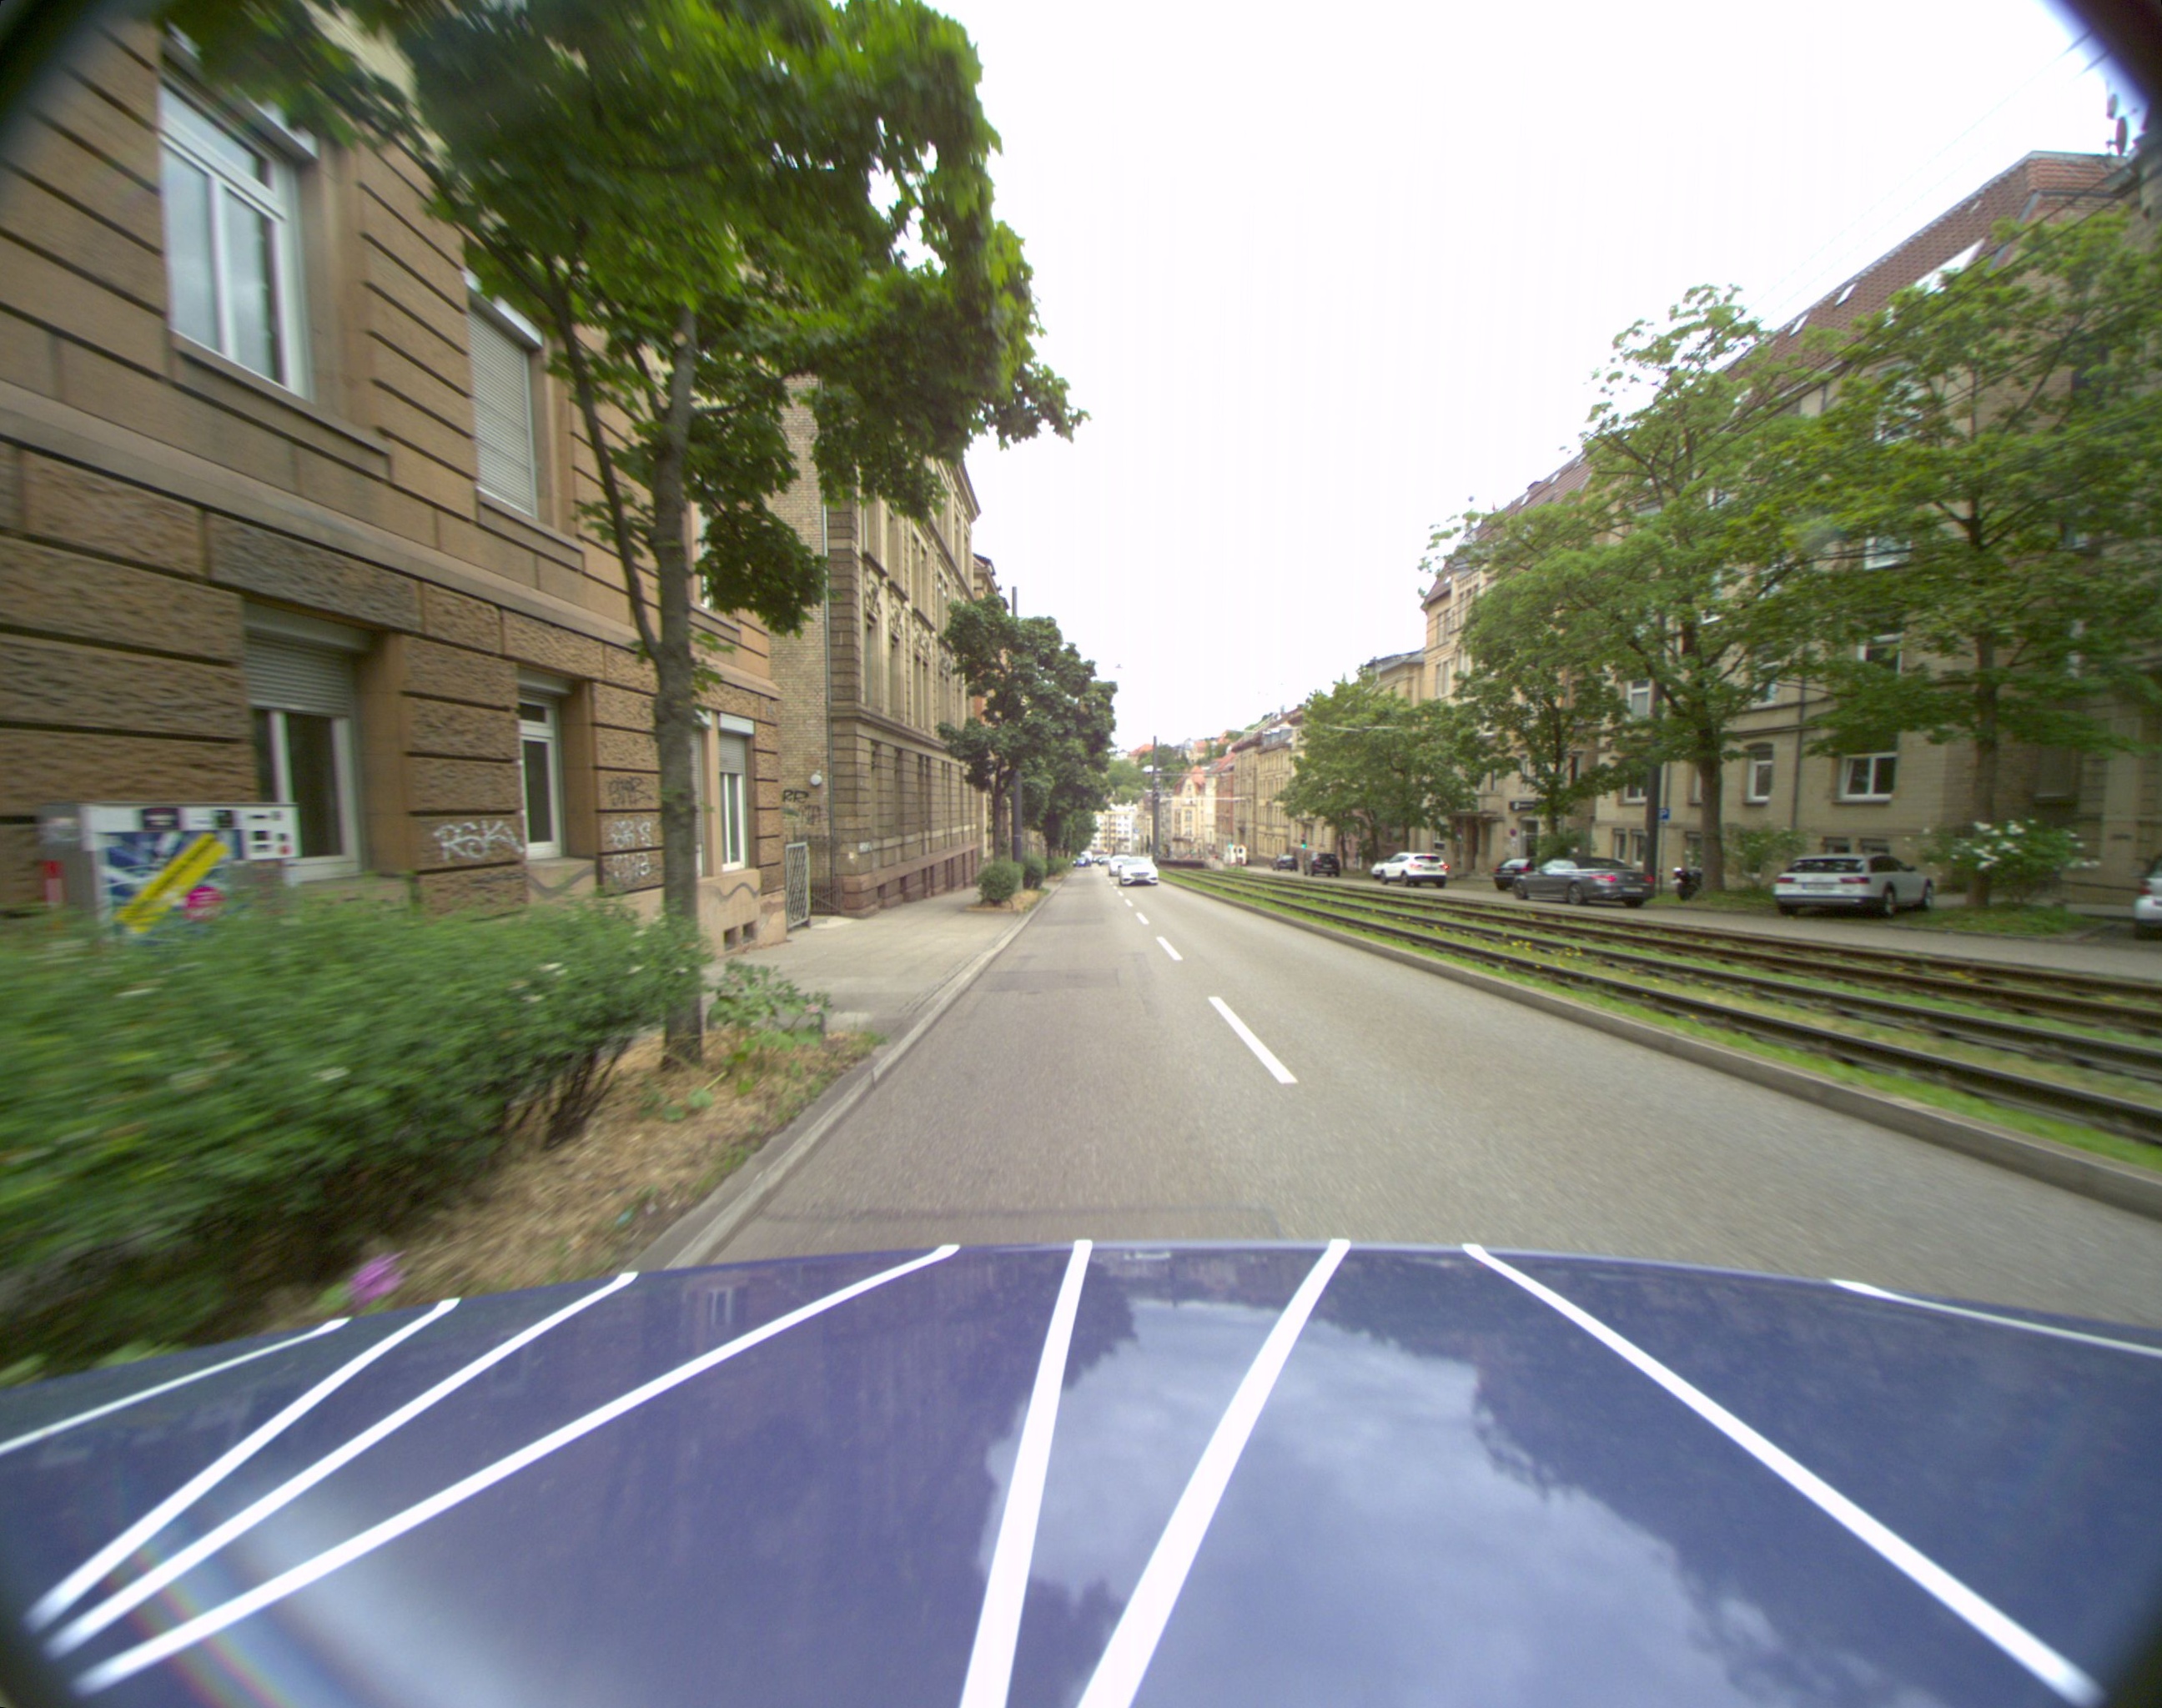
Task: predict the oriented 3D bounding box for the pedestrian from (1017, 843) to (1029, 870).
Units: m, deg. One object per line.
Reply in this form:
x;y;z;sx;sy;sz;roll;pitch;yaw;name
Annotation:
-3.954;0.152;51.930;0.687;1.819;1.121;1;3;1;pedestrian

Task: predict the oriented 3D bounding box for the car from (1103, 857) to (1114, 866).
4.051;1.149;111.520;1.562;1.330;4.000;0;0;1;car

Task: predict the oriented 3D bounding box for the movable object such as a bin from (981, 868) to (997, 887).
-4.274;1.099;35.373;0.672;0.892;0.582;2;-2;-1;movable object such as a bin

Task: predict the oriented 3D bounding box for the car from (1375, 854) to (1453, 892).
15.589;0.853;35.774;1.784;1.607;4.346;1;0;1;car

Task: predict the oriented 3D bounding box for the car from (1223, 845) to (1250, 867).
20.637;0.246;101.209;2.398;2.684;6.519;1;0;3;car

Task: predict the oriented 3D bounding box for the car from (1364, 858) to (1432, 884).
19.143;0.998;45.876;4.006;1.414;1.782;-1;1;-31;car

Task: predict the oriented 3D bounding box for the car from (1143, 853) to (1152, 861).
20.014;0.938;227.527;1.999;2.291;5.454;0;0;-2;car

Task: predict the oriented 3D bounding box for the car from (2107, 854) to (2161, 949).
19.888;0.792;13.497;4.199;1.564;1.867;0;0;-35;car

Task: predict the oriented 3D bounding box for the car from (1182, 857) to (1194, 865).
17.810;1.115;126.606;1.580;1.369;3.656;0;0;4;car

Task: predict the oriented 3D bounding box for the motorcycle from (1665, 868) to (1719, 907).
18.703;1.010;23.240;2.209;1.052;0.623;-2;2;-33;motorcycle

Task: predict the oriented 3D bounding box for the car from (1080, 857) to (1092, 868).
0.708;1.086;103.388;1.694;1.466;3.857;0;0;1;car

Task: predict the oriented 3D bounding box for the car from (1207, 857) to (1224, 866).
20.713;1.159;116.983;1.753;1.420;4.748;1;0;1;car

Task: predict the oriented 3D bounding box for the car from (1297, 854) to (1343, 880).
16.254;0.874;51.837;1.784;1.647;4.243;1;0;1;car

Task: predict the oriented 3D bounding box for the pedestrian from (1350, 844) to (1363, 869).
22.547;0.234;62.151;0.722;2.002;0.797;0;0;-1;pedestrian

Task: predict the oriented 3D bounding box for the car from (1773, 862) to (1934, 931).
18.595;0.935;18.257;4.162;1.461;1.781;0;1;-31;car

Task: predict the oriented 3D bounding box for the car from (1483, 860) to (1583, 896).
18.986;0.958;31.878;4.190;1.356;1.708;-1;0;-29;car

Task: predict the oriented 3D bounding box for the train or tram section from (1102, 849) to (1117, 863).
7.195;0.601;193.559;2.968;3.456;14.408;0;0;-1;train or tram section

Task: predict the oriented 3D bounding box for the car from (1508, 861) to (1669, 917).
14.800;0.958;22.516;1.729;1.402;4.597;1;0;1;car

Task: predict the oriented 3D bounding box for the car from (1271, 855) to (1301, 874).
18.798;0.931;69.819;1.884;1.640;4.472;1;0;5;car

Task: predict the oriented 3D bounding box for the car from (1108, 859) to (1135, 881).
2.976;1.190;56.372;1.806;1.541;4.000;-1;0;0;car

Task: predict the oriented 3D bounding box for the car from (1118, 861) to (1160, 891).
2.859;1.068;38.248;1.806;1.391;4.000;-1;0;0;car
